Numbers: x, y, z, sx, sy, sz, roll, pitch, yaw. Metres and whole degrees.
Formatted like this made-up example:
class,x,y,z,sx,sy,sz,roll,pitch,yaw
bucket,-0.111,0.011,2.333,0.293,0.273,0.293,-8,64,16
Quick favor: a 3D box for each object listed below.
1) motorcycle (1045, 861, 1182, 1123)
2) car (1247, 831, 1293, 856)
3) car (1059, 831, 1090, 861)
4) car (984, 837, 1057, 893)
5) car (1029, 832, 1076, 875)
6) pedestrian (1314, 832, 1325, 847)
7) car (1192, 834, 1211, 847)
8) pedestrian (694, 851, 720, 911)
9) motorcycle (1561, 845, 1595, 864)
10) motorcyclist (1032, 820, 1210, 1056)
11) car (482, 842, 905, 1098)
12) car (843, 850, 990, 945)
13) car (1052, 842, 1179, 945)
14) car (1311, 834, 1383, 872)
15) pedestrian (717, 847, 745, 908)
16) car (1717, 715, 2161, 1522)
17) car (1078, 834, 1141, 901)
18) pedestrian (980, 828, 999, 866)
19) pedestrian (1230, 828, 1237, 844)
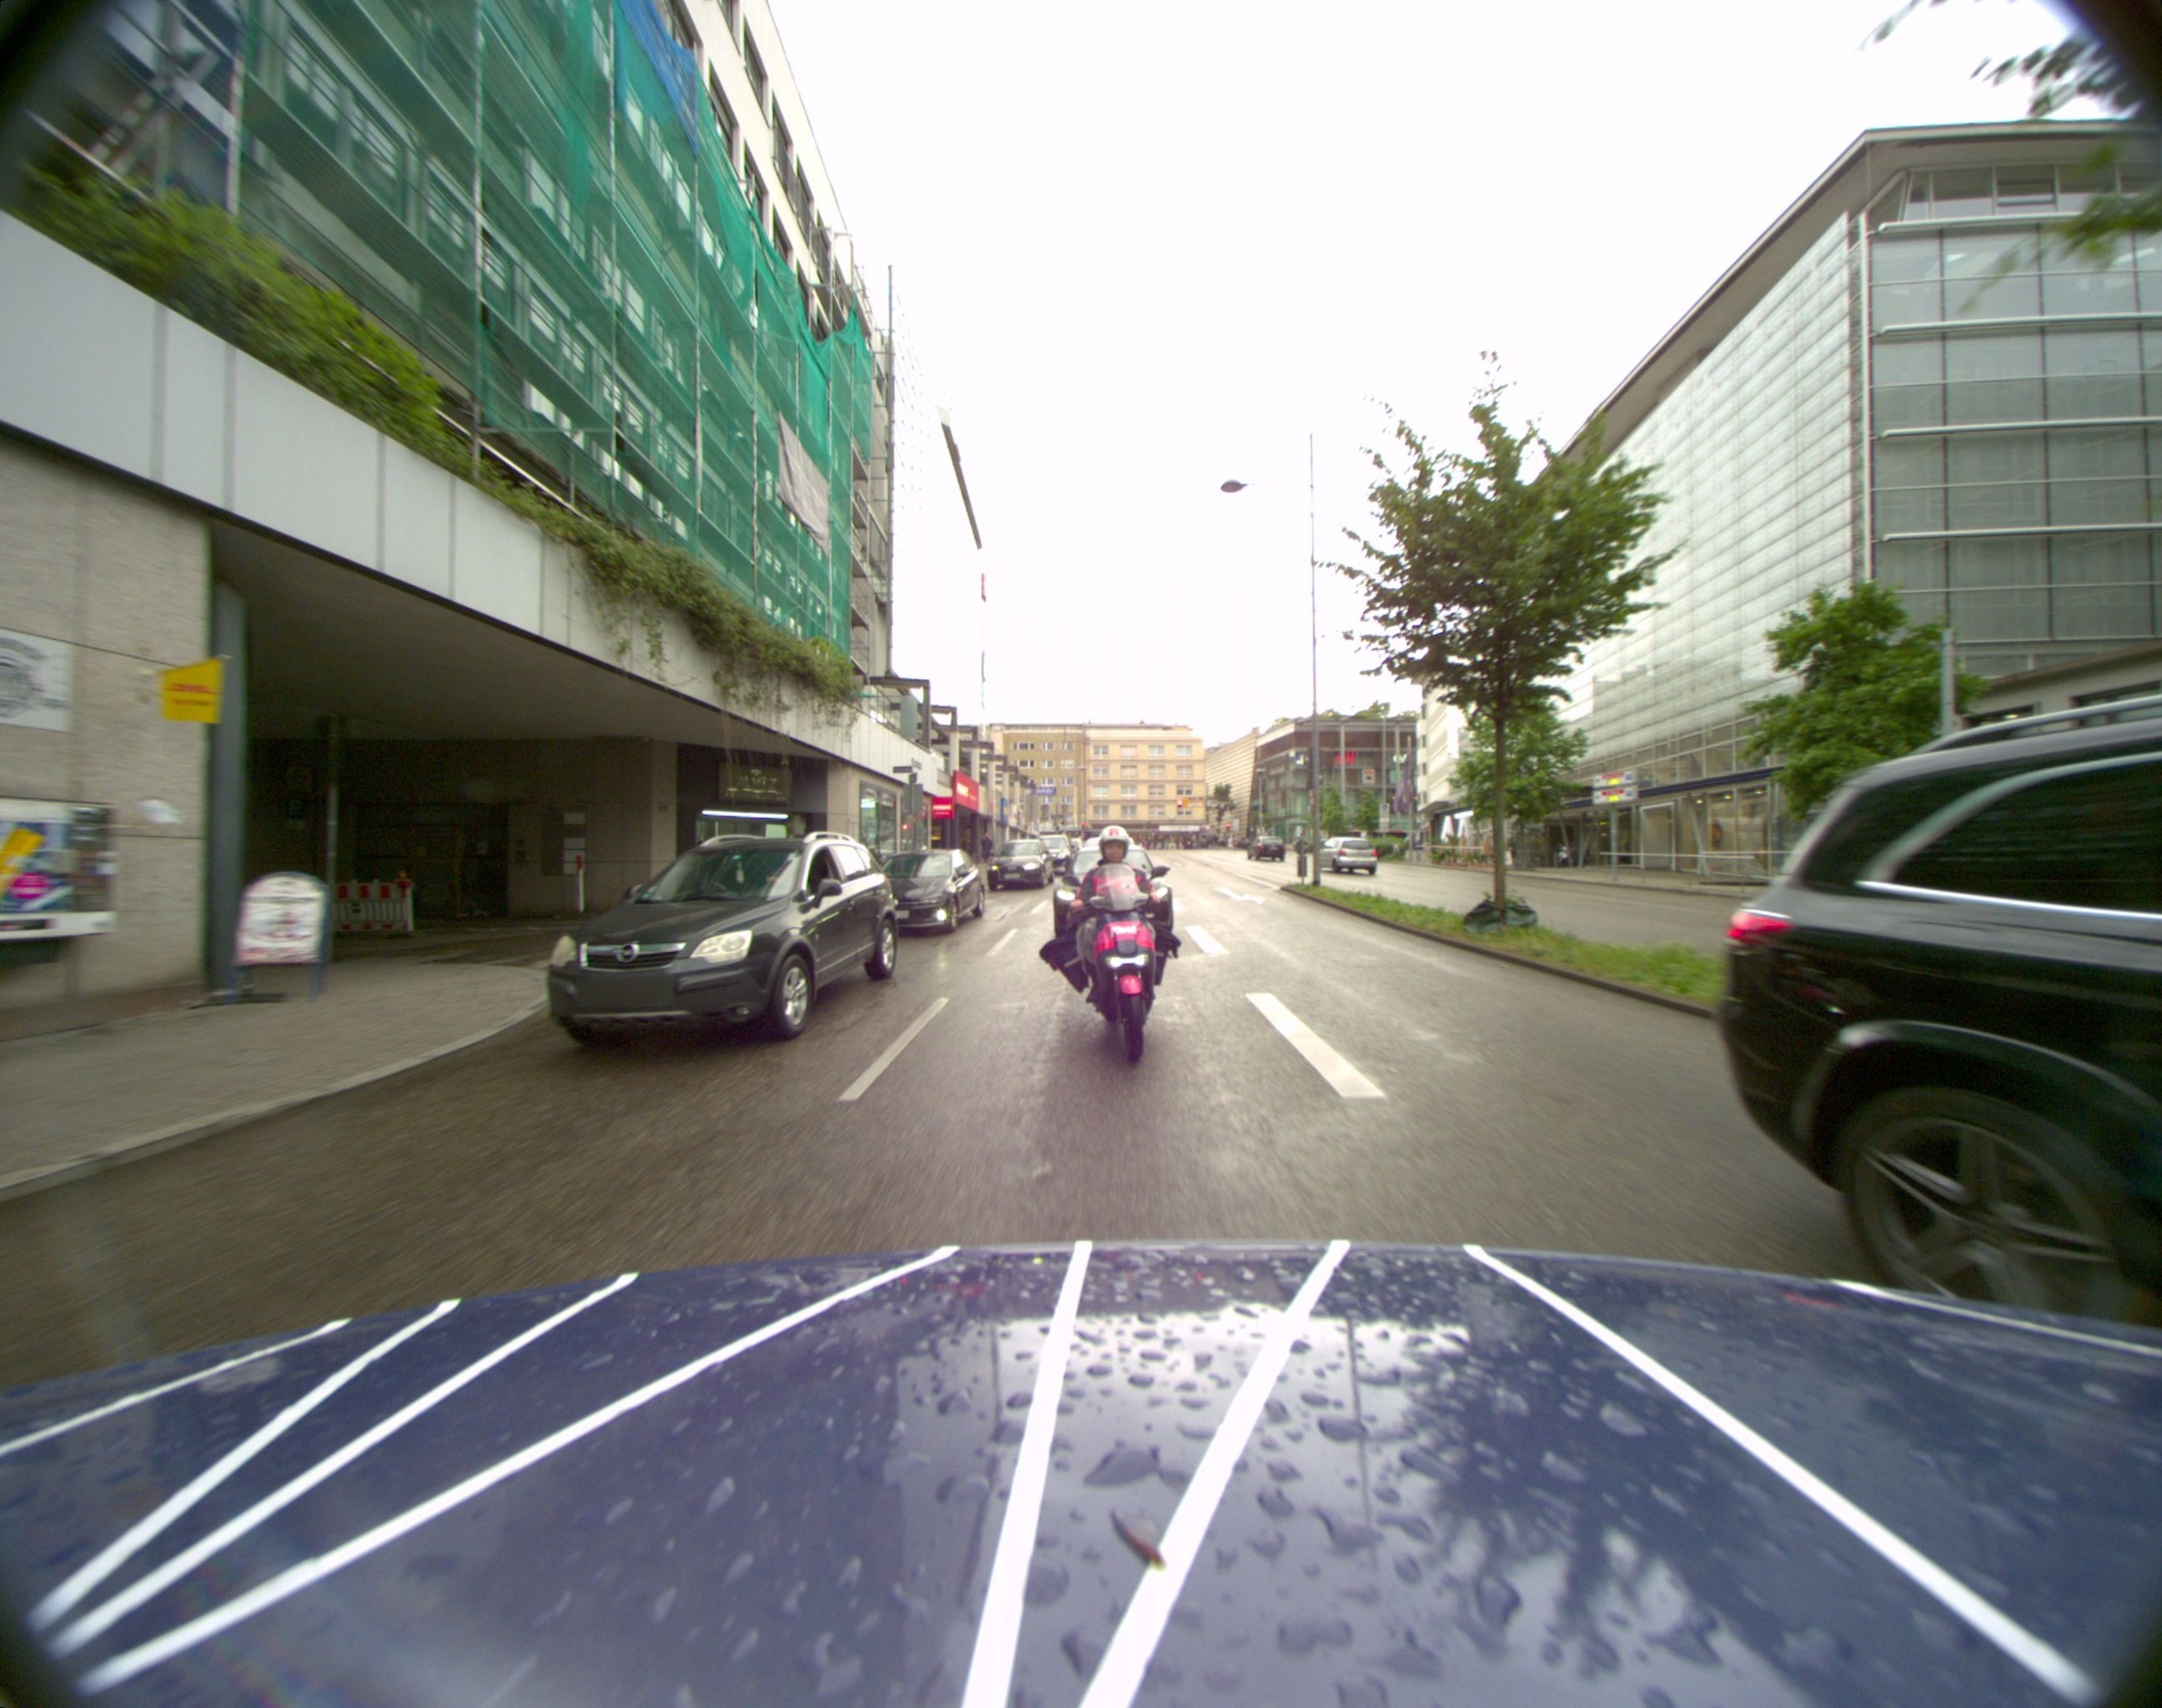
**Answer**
class,x,y,z,sx,sy,sz,roll,pitch,yaw
motorcycle,0.196,0.864,6.093,0.832,1.479,2.864,0,2,0
car,11.755,-0.680,47.416,1.998,1.500,4.184,0,2,3
car,-0.387,-0.543,48.151,1.832,1.726,3.999,1,2,1
car,-1.941,0.299,25.529,1.776,1.575,4.000,-3,2,4
car,-1.189,-0.079,33.300,1.832,1.726,3.999,1,2,1
pedestrian,29.449,-1.799,93.827,0.986,1.888,0.739,-3,2,-17
car,20.099,-2.318,126.738,2.000,2.002,3.996,-3,2,-7
pedestrian,-9.392,0.671,19.087,0.525,1.480,0.428,-1,3,-32
motorcycle,28.736,0.016,43.943,1.571,1.066,0.417,1,3,10
motorcyclist,0.309,0.631,6.200,1.296,1.757,0.845,-2,2,0
car,-3.183,0.781,7.399,1.735,1.669,4.248,-2,2,2
car,-2.932,0.709,14.384,1.682,1.422,3.776,-2,2,4
car,0.558,0.576,13.903,1.937,1.511,4.467,-1,1,1
car,10.901,-0.080,31.409,1.629,1.429,3.645,0,2,-1
pedestrian,-8.601,0.567,18.698,0.428,1.480,0.524,0,2,0
car,3.347,0.586,0.351,1.999,1.768,4.884,-2,2,0
car,0.759,0.301,21.689,1.632,1.732,3.599,0,2,0
pedestrian,-4.511,-0.343,37.431,0.708,1.771,0.640,4,7,1
pedestrian,18.008,-2.133,89.633,0.606,1.831,0.588,-2,2,0
